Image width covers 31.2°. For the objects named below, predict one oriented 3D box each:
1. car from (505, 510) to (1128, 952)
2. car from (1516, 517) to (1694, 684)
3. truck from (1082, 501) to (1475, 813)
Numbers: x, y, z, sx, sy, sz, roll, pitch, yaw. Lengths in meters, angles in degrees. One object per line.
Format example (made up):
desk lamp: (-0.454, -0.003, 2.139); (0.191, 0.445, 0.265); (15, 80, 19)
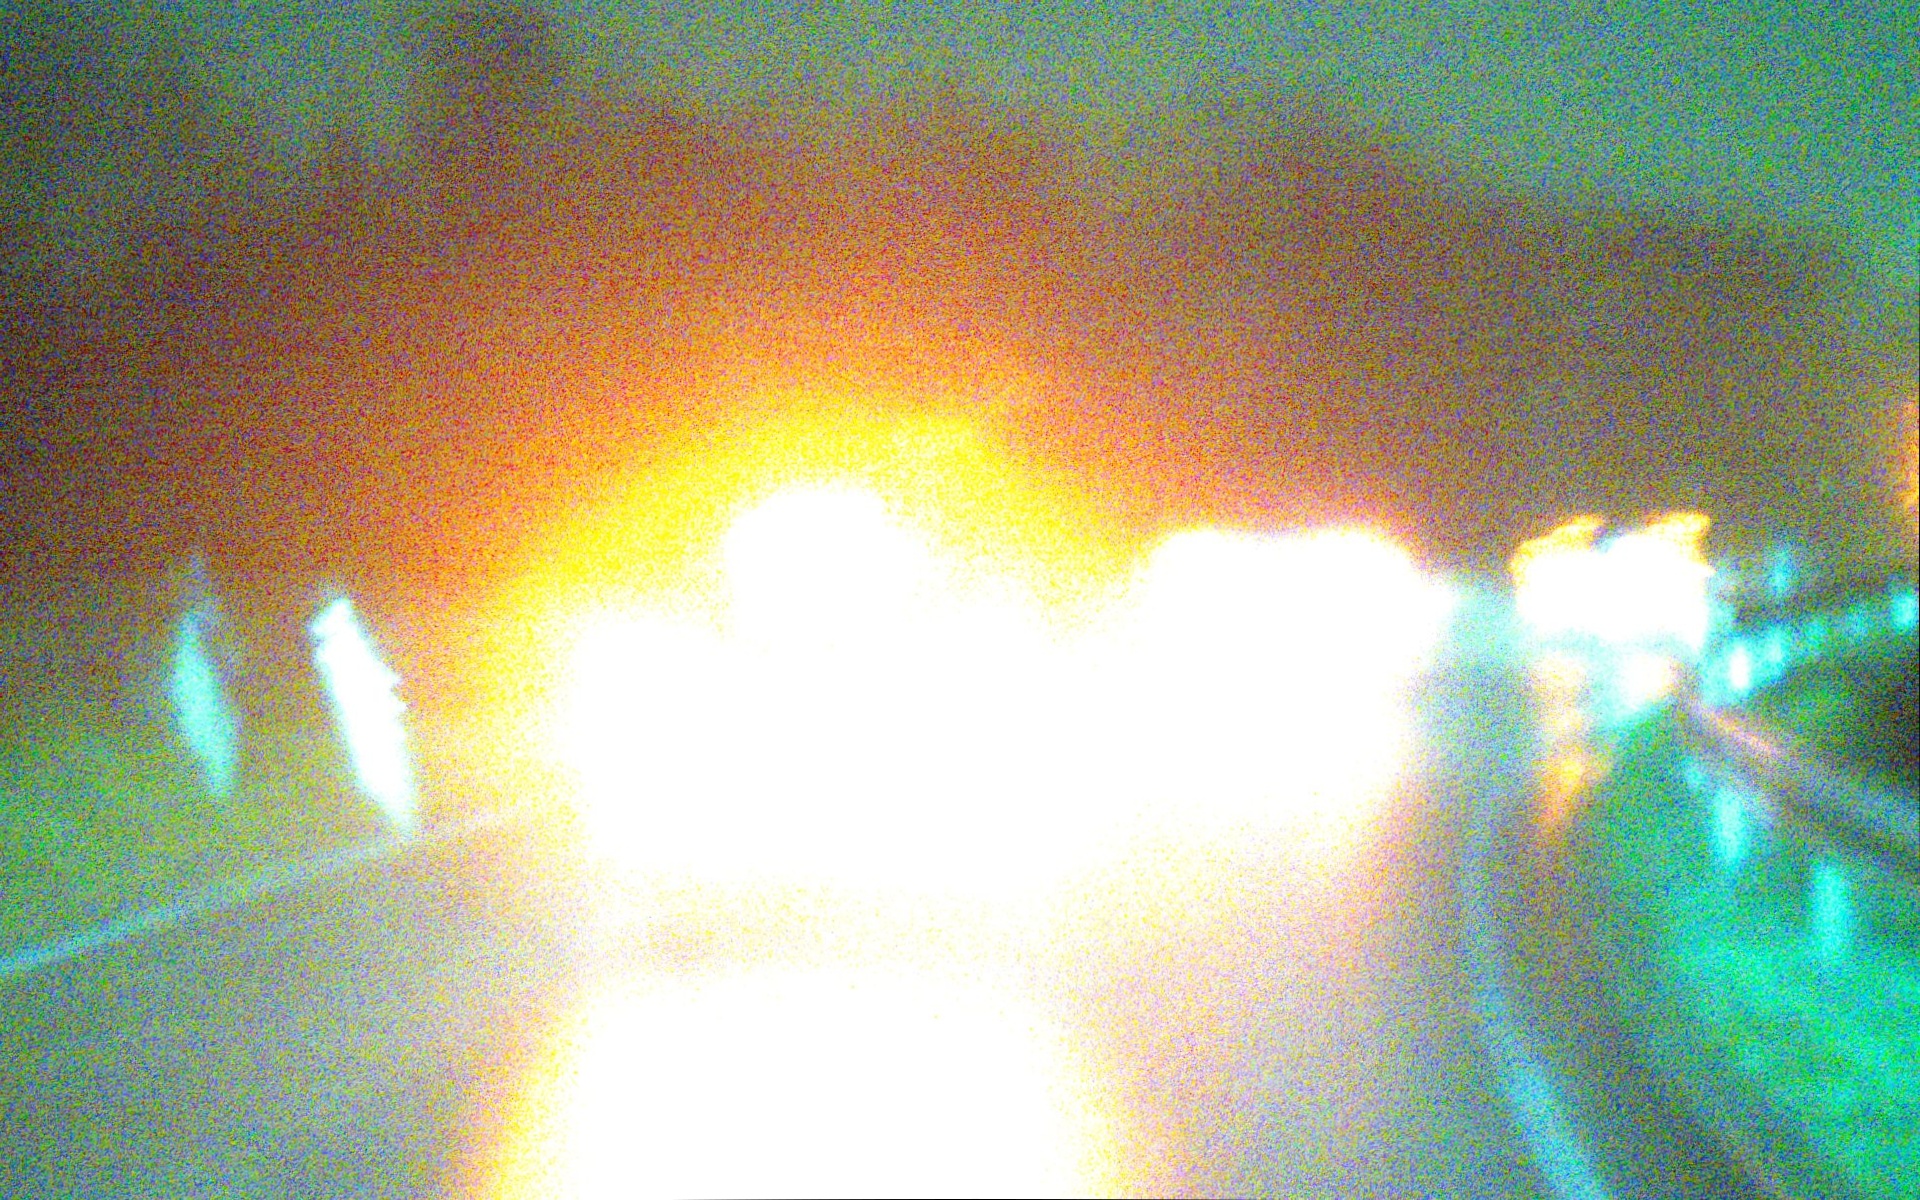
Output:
car: (-0.428, 0.436, 14.031); (1.945, 1.486, 3.715); (-3, 1, 6)
car: (7.929, -0.029, 42.008); (1.837, 1.942, 3.997); (0, 1, 15)
truck: (3.105, 0.403, 31.511); (3.071, 2.520, 7.164); (0, 1, 9)
